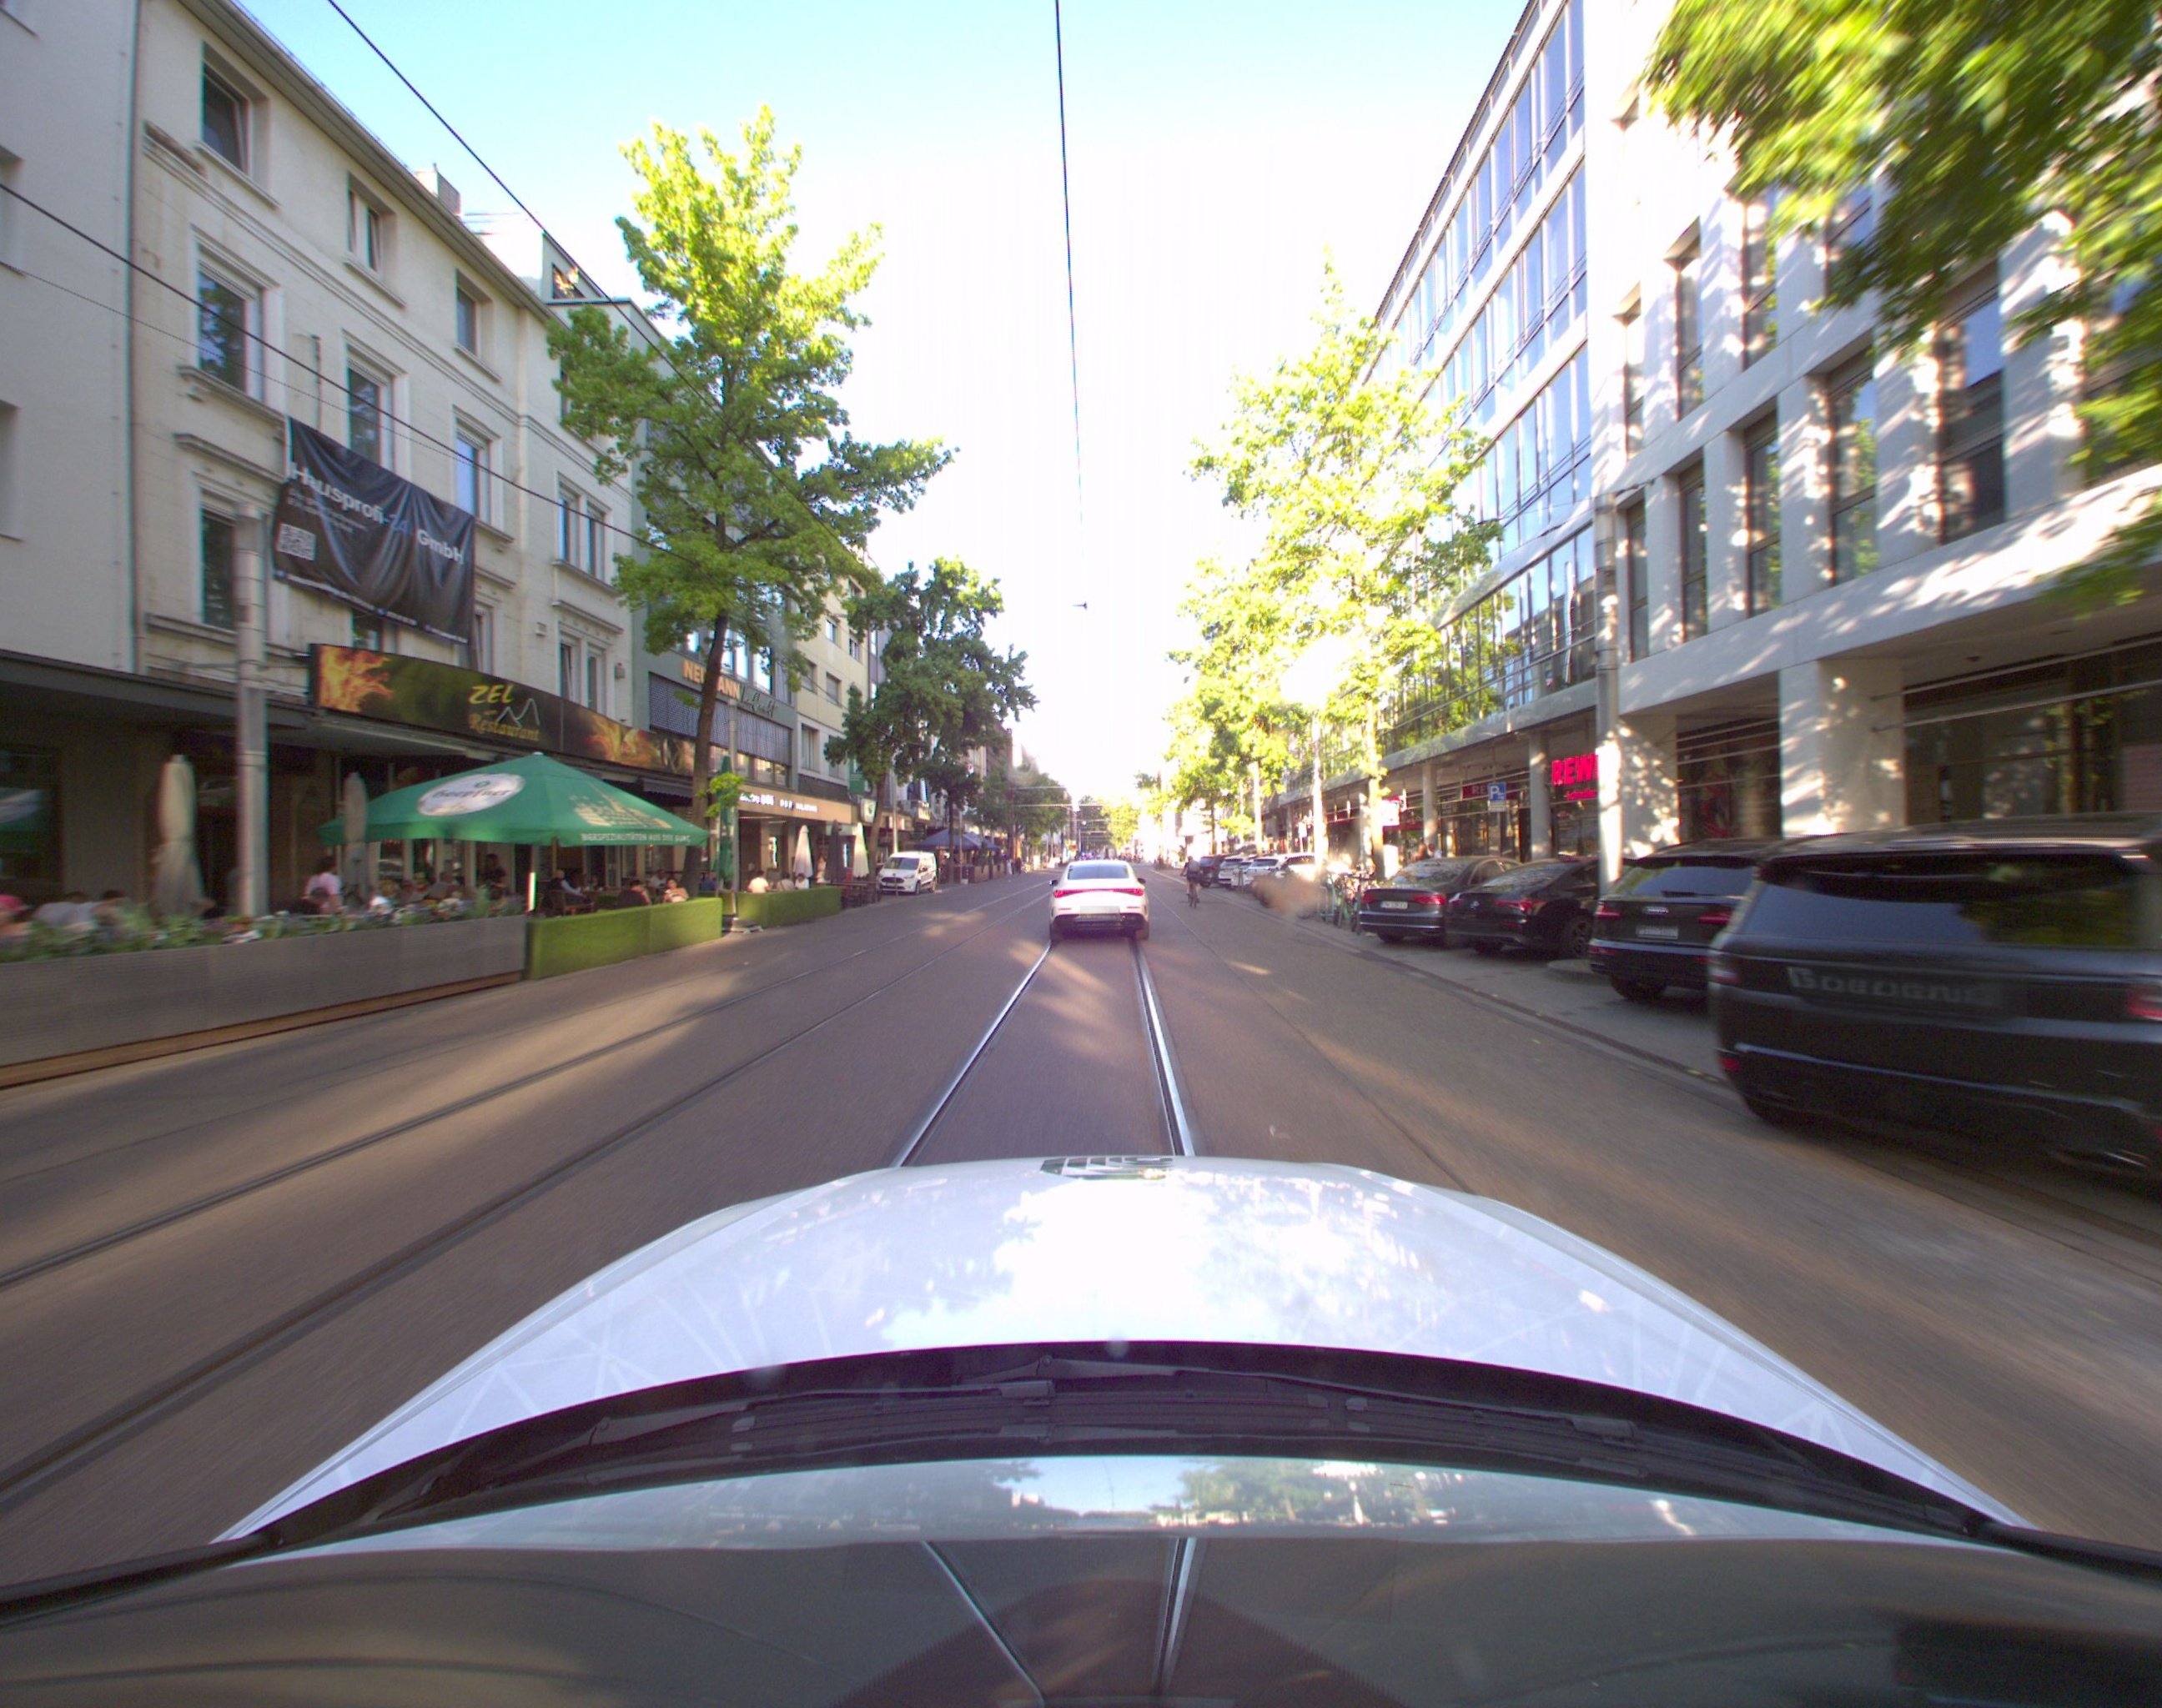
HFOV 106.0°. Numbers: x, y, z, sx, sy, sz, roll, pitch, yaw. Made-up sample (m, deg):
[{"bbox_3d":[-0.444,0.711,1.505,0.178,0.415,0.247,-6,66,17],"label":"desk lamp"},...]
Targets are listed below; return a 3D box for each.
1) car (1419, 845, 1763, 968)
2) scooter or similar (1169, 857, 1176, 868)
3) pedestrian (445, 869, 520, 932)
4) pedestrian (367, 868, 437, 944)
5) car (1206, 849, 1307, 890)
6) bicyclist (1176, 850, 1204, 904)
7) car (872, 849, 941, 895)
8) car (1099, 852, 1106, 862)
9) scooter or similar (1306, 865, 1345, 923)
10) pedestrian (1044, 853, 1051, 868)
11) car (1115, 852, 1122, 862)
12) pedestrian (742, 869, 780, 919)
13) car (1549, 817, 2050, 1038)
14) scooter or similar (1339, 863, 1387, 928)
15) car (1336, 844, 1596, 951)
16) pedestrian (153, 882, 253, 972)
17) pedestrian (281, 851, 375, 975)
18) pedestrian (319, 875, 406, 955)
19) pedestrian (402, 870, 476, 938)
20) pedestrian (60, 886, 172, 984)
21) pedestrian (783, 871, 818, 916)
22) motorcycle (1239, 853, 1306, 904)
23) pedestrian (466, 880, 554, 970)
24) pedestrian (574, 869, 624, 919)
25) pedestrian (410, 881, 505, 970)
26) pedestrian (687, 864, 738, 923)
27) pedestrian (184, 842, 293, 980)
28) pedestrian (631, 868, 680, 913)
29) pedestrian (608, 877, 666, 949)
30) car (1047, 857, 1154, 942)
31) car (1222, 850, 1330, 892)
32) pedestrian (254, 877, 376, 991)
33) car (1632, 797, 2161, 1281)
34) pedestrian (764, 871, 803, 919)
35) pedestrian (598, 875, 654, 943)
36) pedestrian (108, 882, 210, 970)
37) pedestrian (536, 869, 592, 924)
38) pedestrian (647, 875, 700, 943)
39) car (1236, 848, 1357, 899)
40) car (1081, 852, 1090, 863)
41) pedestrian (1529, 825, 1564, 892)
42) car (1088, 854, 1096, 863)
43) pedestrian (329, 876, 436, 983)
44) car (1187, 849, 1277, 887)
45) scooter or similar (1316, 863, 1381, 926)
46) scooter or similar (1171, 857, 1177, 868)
[{"bbox_3d":[7.755,0.703,12.442,4.666,1.426,1.921,-3,-1,-19],"label":"car"},{"bbox_3d":[10.690,1.035,95.284,0.527,1.277,0.658,-3,-1,-9],"label":"scooter or similar"},{"bbox_3d":[-12.300,0.939,16.771,0.774,1.237,0.945,2,0,1],"label":"pedestrian"},{"bbox_3d":[-12.302,0.921,14.775,0.616,1.309,0.697,2,0,1],"label":"pedestrian"},{"bbox_3d":[8.030,0.701,37.173,4.261,1.587,1.866,-3,0,-29],"label":"car"},{"bbox_3d":[3.309,0.683,24.640,0.772,1.613,0.915,1,0,11],"label":"bicyclist"},{"bbox_3d":[-7.625,0.755,36.081,1.788,1.864,4.557,2,0,3],"label":"car"},{"bbox_3d":[6.880,1.003,262.164,2.090,2.897,5.278,-1,0,3],"label":"car"},{"bbox_3d":[5.764,0.923,19.232,0.449,1.276,1.307,-5,-1,1],"label":"scooter or similar"},{"bbox_3d":[-4.333,0.824,104.337,0.784,1.801,0.845,-1,-1,3],"label":"pedestrian"},{"bbox_3d":[12.070,0.950,262.330,2.090,2.897,5.288,-1,0,3],"label":"car"},{"bbox_3d":[-8.758,1.079,22.294,0.654,1.293,0.798,2,0,1],"label":"pedestrian"},{"bbox_3d":[7.463,0.583,8.476,4.671,1.655,1.994,-3,0,-22],"label":"car"},{"bbox_3d":[6.058,0.879,17.448,0.452,1.276,1.315,-5,-1,39],"label":"scooter or similar"},{"bbox_3d":[7.198,0.704,15.034,5.082,1.469,1.956,-4,-1,-34],"label":"car"},{"bbox_3d":[-12.131,0.997,11.267,0.599,1.174,0.687,1,-1,2],"label":"pedestrian"},{"bbox_3d":[-10.518,0.798,11.392,0.616,1.670,0.697,1,-1,1],"label":"pedestrian"},{"bbox_3d":[-11.735,0.980,13.329,0.667,1.242,0.799,1,0,1],"label":"pedestrian"},{"bbox_3d":[-12.286,0.937,15.614,0.733,1.232,0.788,2,0,1],"label":"pedestrian"},{"bbox_3d":[-12.148,1.001,10.269,0.550,1.161,0.687,1,0,3],"label":"pedestrian"},{"bbox_3d":[-7.967,1.111,23.130,0.654,1.193,0.798,2,0,1],"label":"pedestrian"},{"bbox_3d":[6.269,0.794,26.547,2.332,1.510,0.849,-3,-1,-42],"label":"motorcycle"},{"bbox_3d":[-8.484,1.038,12.127,0.704,1.259,0.773,1,0,4],"label":"pedestrian"},{"bbox_3d":[-11.967,0.984,20.240,0.697,1.168,0.788,2,0,1],"label":"pedestrian"},{"bbox_3d":[-9.321,1.046,12.211,0.704,1.259,0.870,1,0,4],"label":"pedestrian"},{"bbox_3d":[-8.799,0.925,19.498,0.751,1.343,0.873,2,0,1],"label":"pedestrian"},{"bbox_3d":[-11.169,0.733,10.818,0.675,1.757,0.697,1,-1,3],"label":"pedestrian"},{"bbox_3d":[-11.918,1.008,22.833,0.750,1.188,1.065,2,0,1],"label":"pedestrian"},{"bbox_3d":[-8.144,1.073,14.953,0.616,1.245,0.697,2,0,1],"label":"pedestrian"},{"bbox_3d":[0.412,0.788,16.079,1.850,1.455,4.177,0,0,2],"label":"car"},{"bbox_3d":[8.231,0.714,34.403,4.163,1.499,1.676,-3,0,-22],"label":"car"},{"bbox_3d":[-9.354,0.950,9.974,0.686,1.312,0.807,1,0,3],"label":"pedestrian"},{"bbox_3d":[5.659,0.595,4.759,4.678,1.763,1.977,-3,-1,-27],"label":"car"},{"bbox_3d":[-8.083,1.108,22.142,0.654,1.244,0.873,2,0,1],"label":"pedestrian"},{"bbox_3d":[-8.840,1.059,15.846,0.616,1.245,0.697,2,0,1],"label":"pedestrian"},{"bbox_3d":[-12.779,0.983,11.304,0.599,1.158,0.687,1,0,2],"label":"pedestrian"},{"bbox_3d":[-11.991,0.969,18.919,0.733,1.214,0.788,2,0,1],"label":"pedestrian"},{"bbox_3d":[-7.957,1.062,15.929,0.616,1.245,0.697,2,0,1],"label":"pedestrian"},{"bbox_3d":[7.869,0.680,29.696,4.174,1.571,1.836,-3,0,-31],"label":"car"},{"bbox_3d":[1.220,0.958,211.450,1.985,2.897,5.278,-1,0,3],"label":"car"},{"bbox_3d":[13.726,0.129,24.031,0.580,1.919,0.664,-3,-1,4],"label":"pedestrian"},{"bbox_3d":[3.164,1.282,230.193,1.902,2.461,5.278,-1,0,3],"label":"car"},{"bbox_3d":[-9.285,0.979,10.849,0.704,1.347,0.782,1,-1,4],"label":"pedestrian"},{"bbox_3d":[7.637,0.697,41.102,4.369,1.652,1.678,-3,0,-29],"label":"car"},{"bbox_3d":[5.999,0.906,18.269,1.311,1.276,0.559,-4,-1,-30],"label":"scooter or similar"},{"bbox_3d":[10.780,1.031,94.647,0.491,1.277,0.658,-3,-1,-9],"label":"scooter or similar"}]
